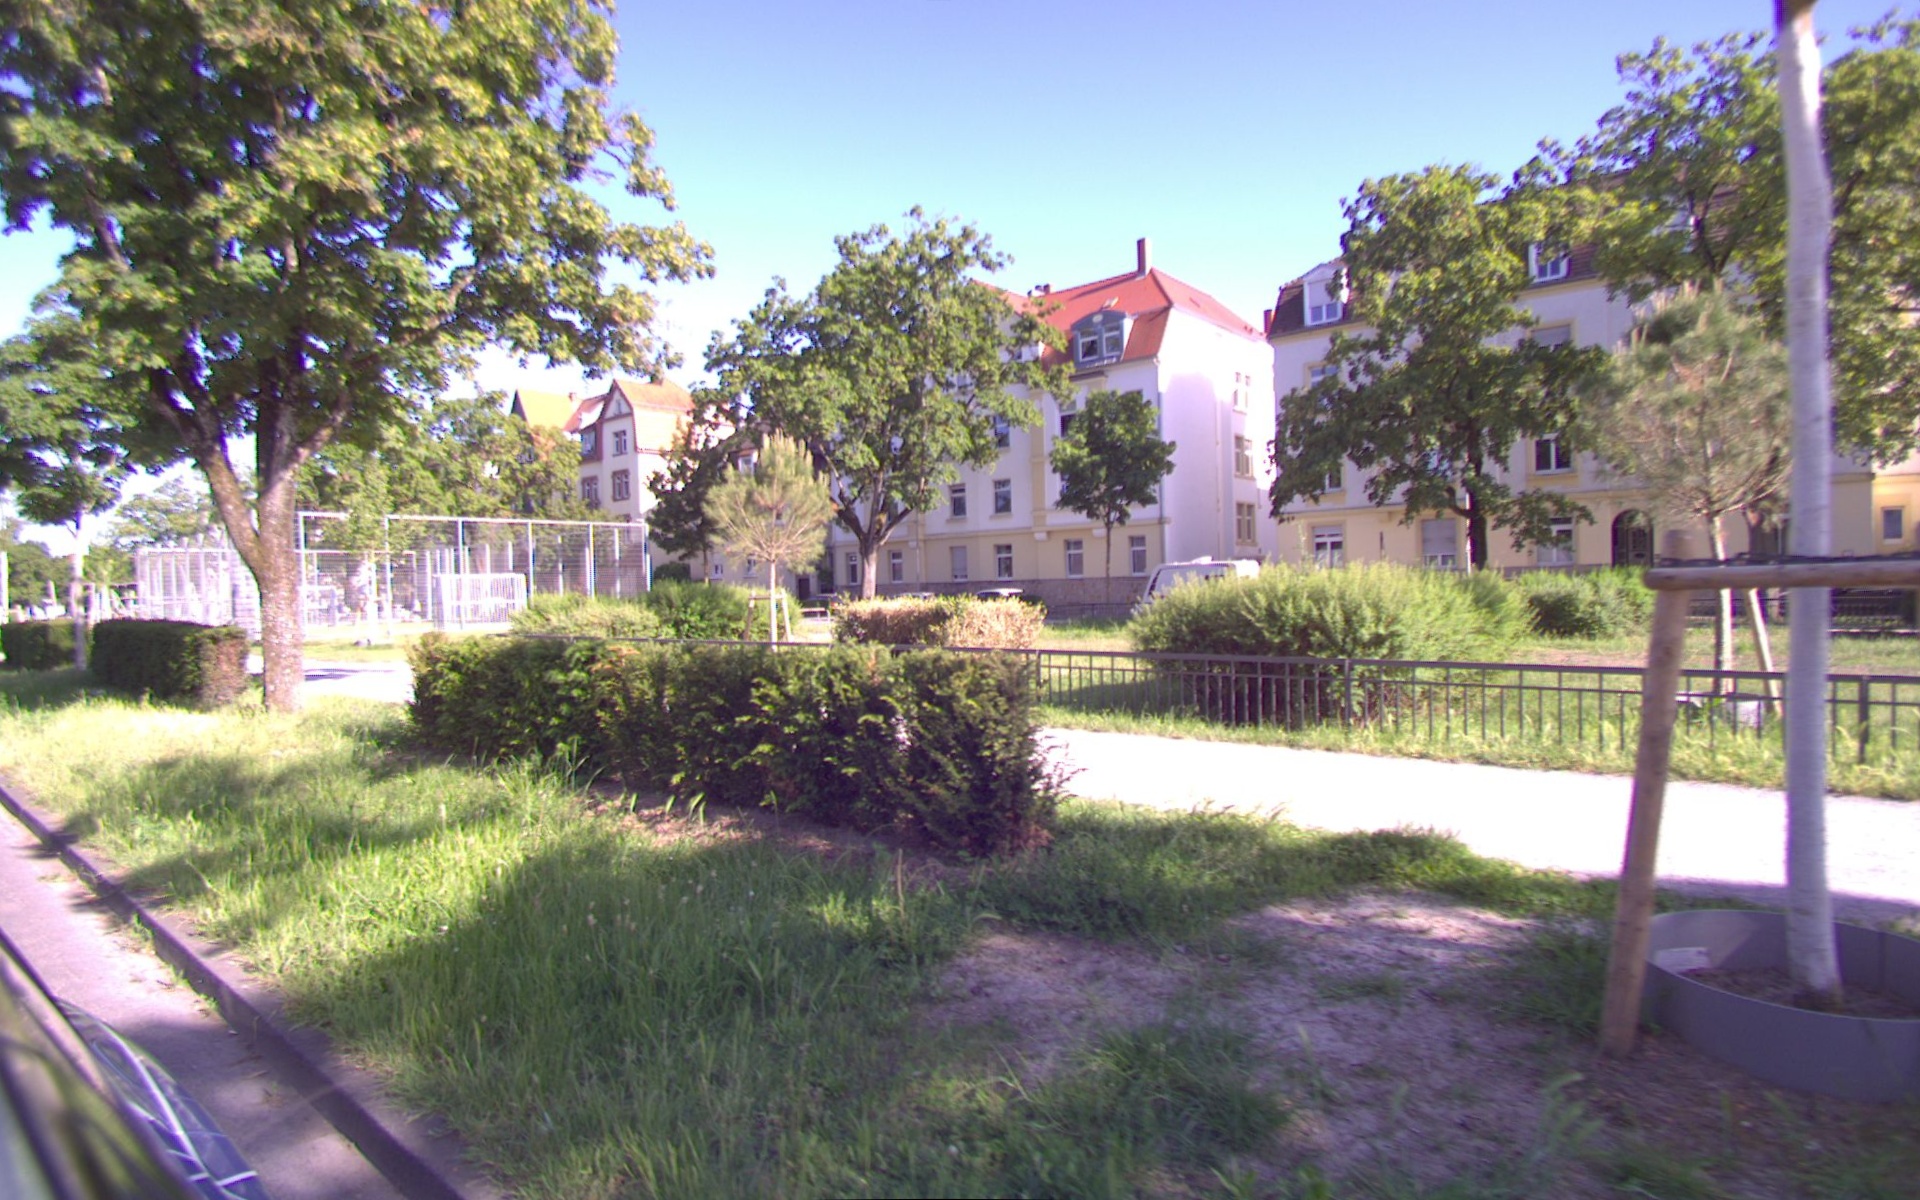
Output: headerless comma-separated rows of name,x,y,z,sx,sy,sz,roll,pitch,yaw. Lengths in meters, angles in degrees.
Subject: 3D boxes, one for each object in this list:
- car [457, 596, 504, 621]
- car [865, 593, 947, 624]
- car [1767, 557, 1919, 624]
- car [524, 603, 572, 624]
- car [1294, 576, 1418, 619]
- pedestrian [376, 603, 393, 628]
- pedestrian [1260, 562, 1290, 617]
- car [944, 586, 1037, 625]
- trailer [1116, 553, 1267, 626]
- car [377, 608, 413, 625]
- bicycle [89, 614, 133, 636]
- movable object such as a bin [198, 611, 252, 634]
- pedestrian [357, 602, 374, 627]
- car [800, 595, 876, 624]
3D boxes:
car,-40.654,0.712,85.683,4.833,1.997,1.776,-1,1,41
car,-2.915,0.480,53.865,4.345,1.521,1.776,-1,1,41
car,25.878,-0.272,28.865,4.452,1.829,1.777,-1,1,39
car,-32.230,1.053,79.109,3.997,1.566,1.776,-1,1,41
car,15.061,-0.065,38.582,3.998,1.521,1.775,-1,1,41
pedestrian,-31.421,0.831,55.263,0.639,1.328,0.652,-2,0,-20
pedestrian,9.858,-0.325,31.672,0.650,1.674,0.641,-1,0,41
car,1.476,0.295,50.141,4.486,1.790,1.776,-1,1,41
trailer,9.785,-0.396,43.032,5.798,2.892,2.319,-1,1,40
car,-54.945,1.608,98.400,3.997,1.566,1.776,-1,1,41
bicycle,-46.784,1.381,55.768,0.499,1.116,1.777,-2,0,39
movable object such as a bin,-42.384,1.272,58.409,1.054,1.251,2.309,-2,-1,37
pedestrian,-32.155,0.781,54.726,0.639,1.328,0.652,-2,0,-20
car,-6.944,0.550,57.250,4.345,1.521,1.776,-1,1,41
